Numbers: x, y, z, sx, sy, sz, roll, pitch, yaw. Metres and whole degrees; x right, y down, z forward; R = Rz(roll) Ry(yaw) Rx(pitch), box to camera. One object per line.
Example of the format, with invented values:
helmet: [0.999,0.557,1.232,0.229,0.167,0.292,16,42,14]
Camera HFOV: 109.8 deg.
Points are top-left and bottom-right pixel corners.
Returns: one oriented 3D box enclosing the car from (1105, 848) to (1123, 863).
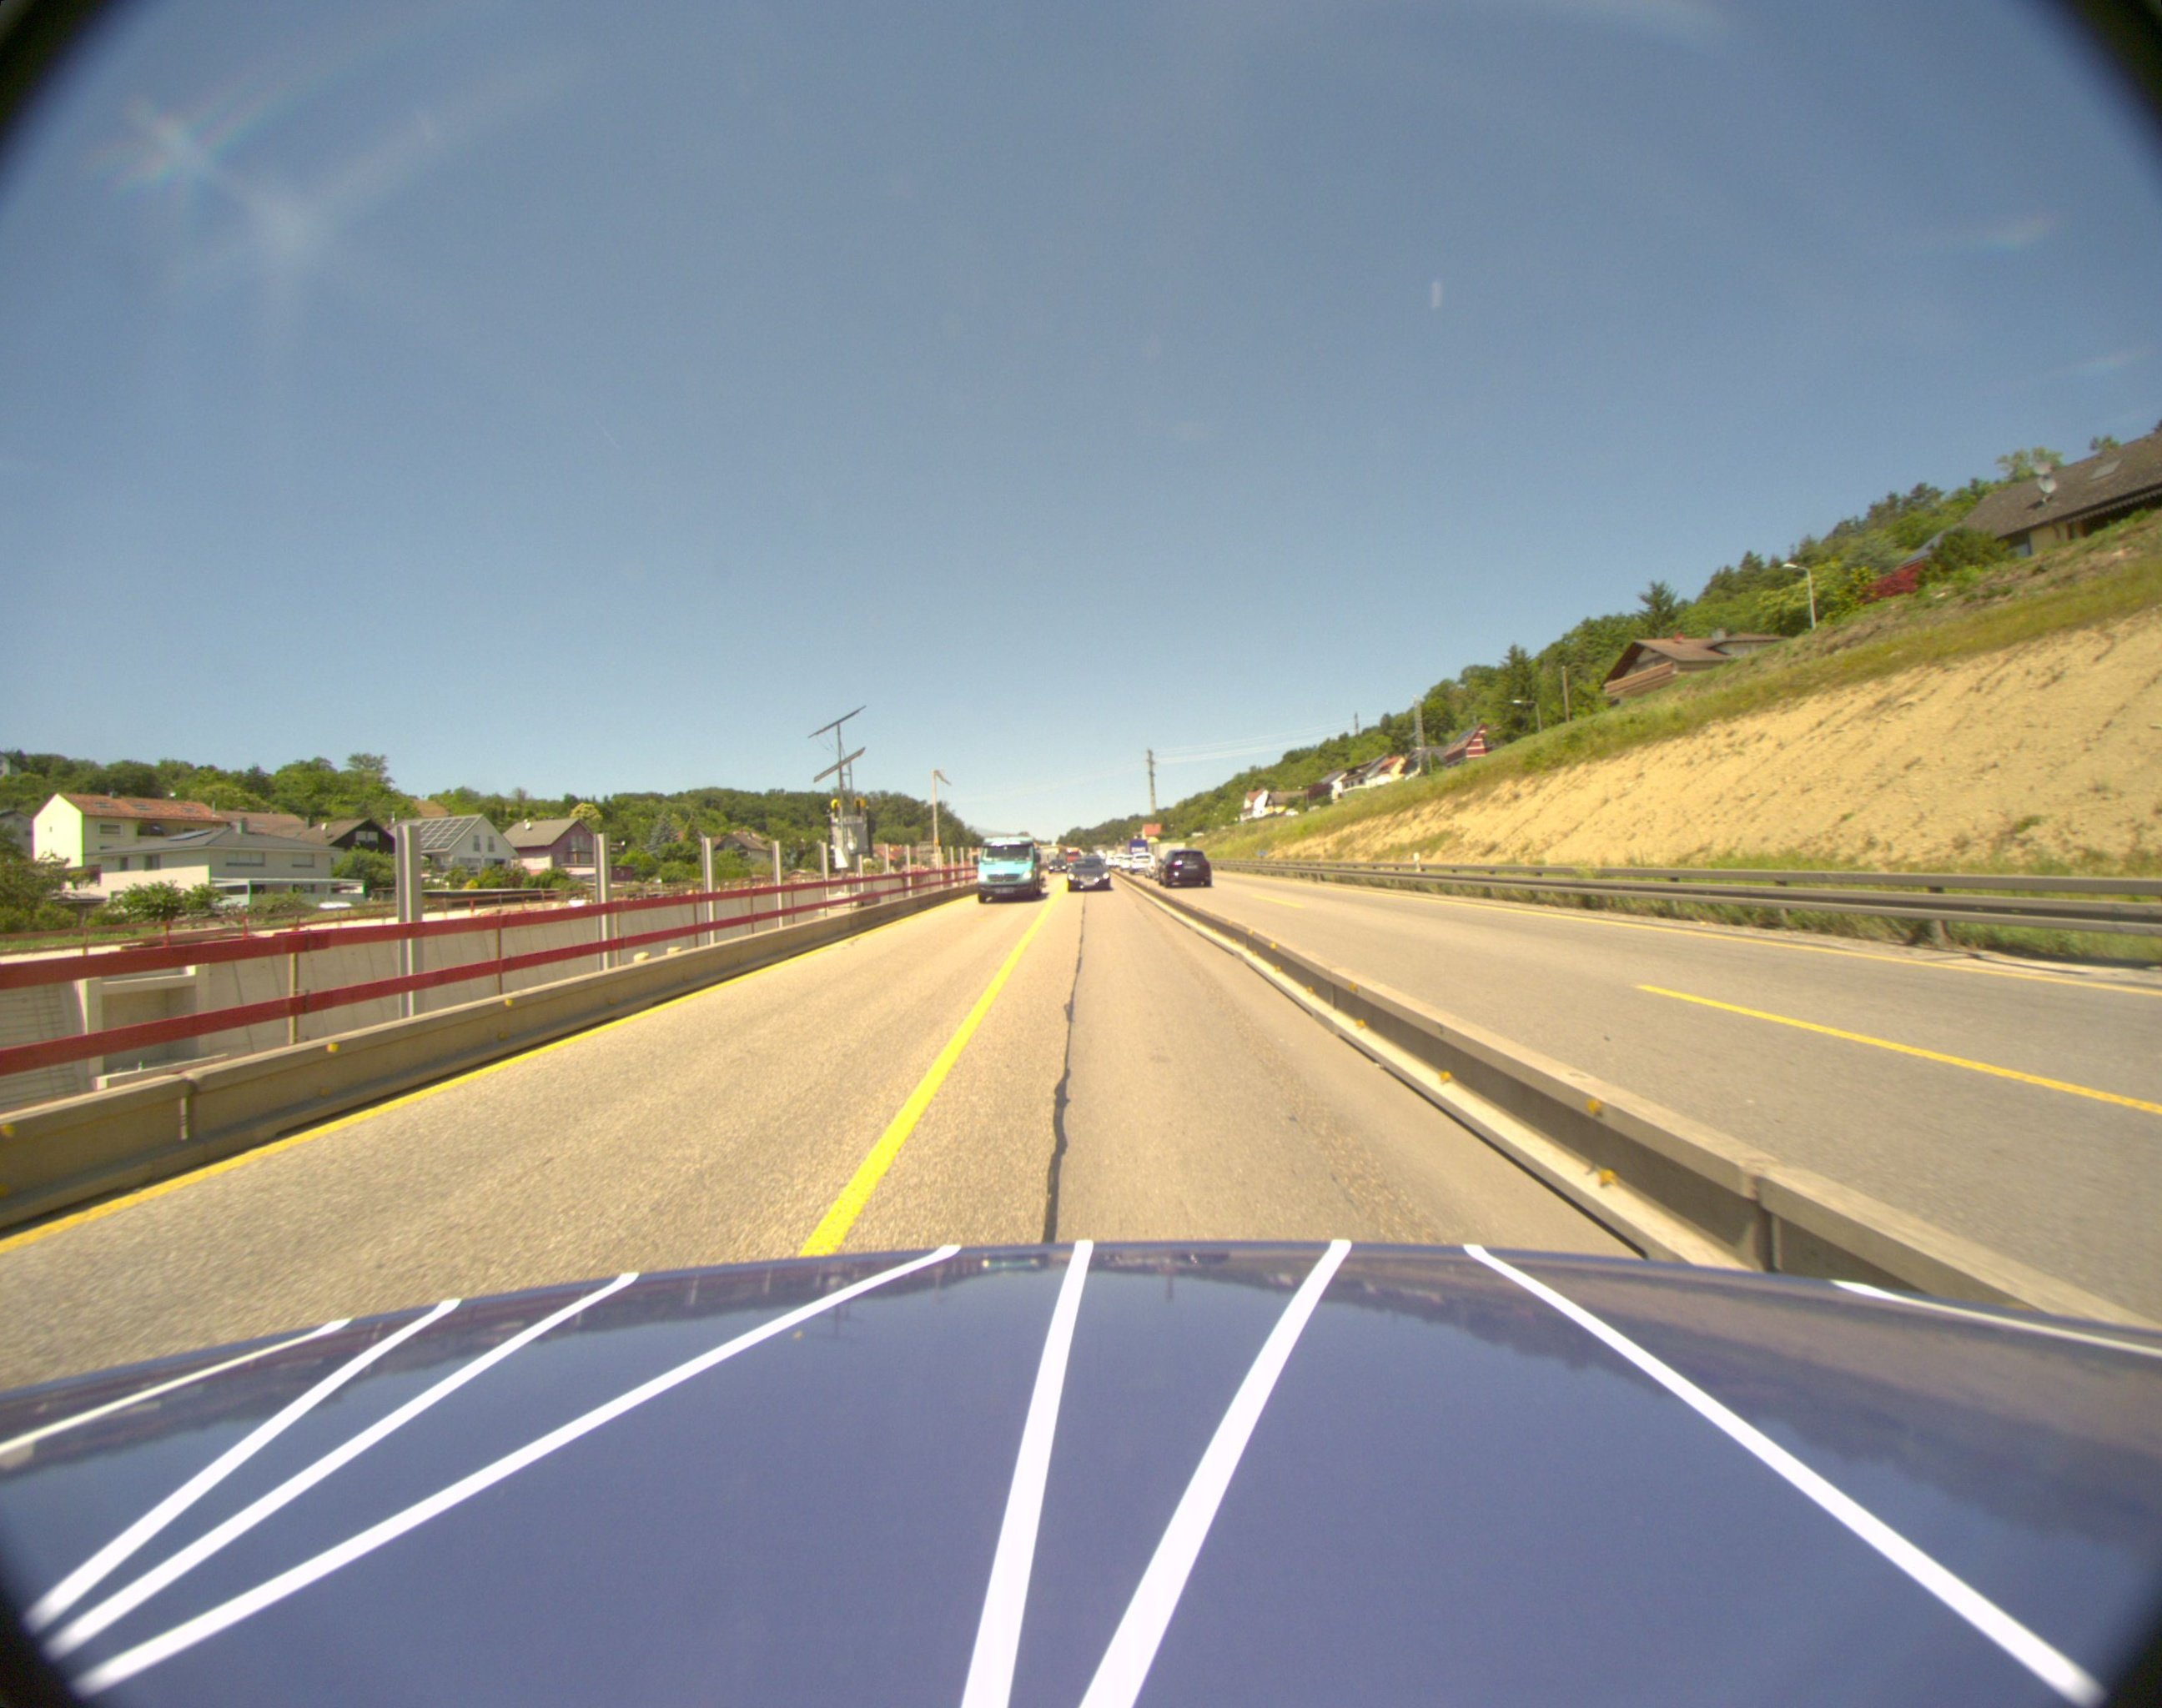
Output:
car: [4.005,0.180,91.845,1.896,1.698,4.561,-2,0,0]

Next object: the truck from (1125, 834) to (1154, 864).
truck: [8.783,-0.727,115.251,3.251,4.135,13.977,-2,0,0]

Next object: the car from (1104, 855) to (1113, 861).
car: [6.802,0.965,188.324,1.853,1.577,4.174,-3,0,0]

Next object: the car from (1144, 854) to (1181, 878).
car: [4.917,0.699,46.412,1.651,1.407,3.999,-2,0,-2]

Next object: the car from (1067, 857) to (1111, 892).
car: [0.347,0.846,32.897,1.746,1.420,4.000,-1,0,1]

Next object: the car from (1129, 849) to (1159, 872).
car: [4.643,0.461,56.884,1.820,1.583,4.290,-2,0,0]

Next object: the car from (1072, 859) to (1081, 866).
car: [-0.884,1.674,147.455,1.679,1.346,3.487,-4,0,1]

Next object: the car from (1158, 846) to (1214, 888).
car: [4.585,0.531,33.796,1.895,1.698,4.561,-2,0,1]

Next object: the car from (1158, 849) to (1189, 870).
car: [7.569,0.461,62.475,1.904,1.575,4.514,-2,0,0]

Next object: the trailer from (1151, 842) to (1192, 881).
trailer: [5.024,0.391,42.731,1.651,2.014,4.269,-2,0,-2]

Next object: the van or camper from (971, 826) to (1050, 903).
van or camper: [-2.488,0.366,28.996,2.097,2.458,7.671,-2,0,1]

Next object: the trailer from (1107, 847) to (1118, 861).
trailer: [9.918,0.030,237.730,2.864,4.100,13.437,-2,0,0]

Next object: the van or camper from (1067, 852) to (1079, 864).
van or camper: [-1.677,0.869,167.488,2.321,2.513,4.528,-4,0,1]

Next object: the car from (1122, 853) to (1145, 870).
car: [4.848,0.645,70.490,1.811,1.468,4.280,-2,0,0]

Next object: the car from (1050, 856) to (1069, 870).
car: [-2.067,0.843,73.479,1.611,1.324,3.496,-2,0,1]

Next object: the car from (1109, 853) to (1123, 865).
car: [5.058,0.657,109.795,1.817,1.628,4.362,-2,0,0]

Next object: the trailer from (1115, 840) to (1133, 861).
trailer: [9.252,-0.769,164.282,2.817,4.261,14.034,-3,0,0]
